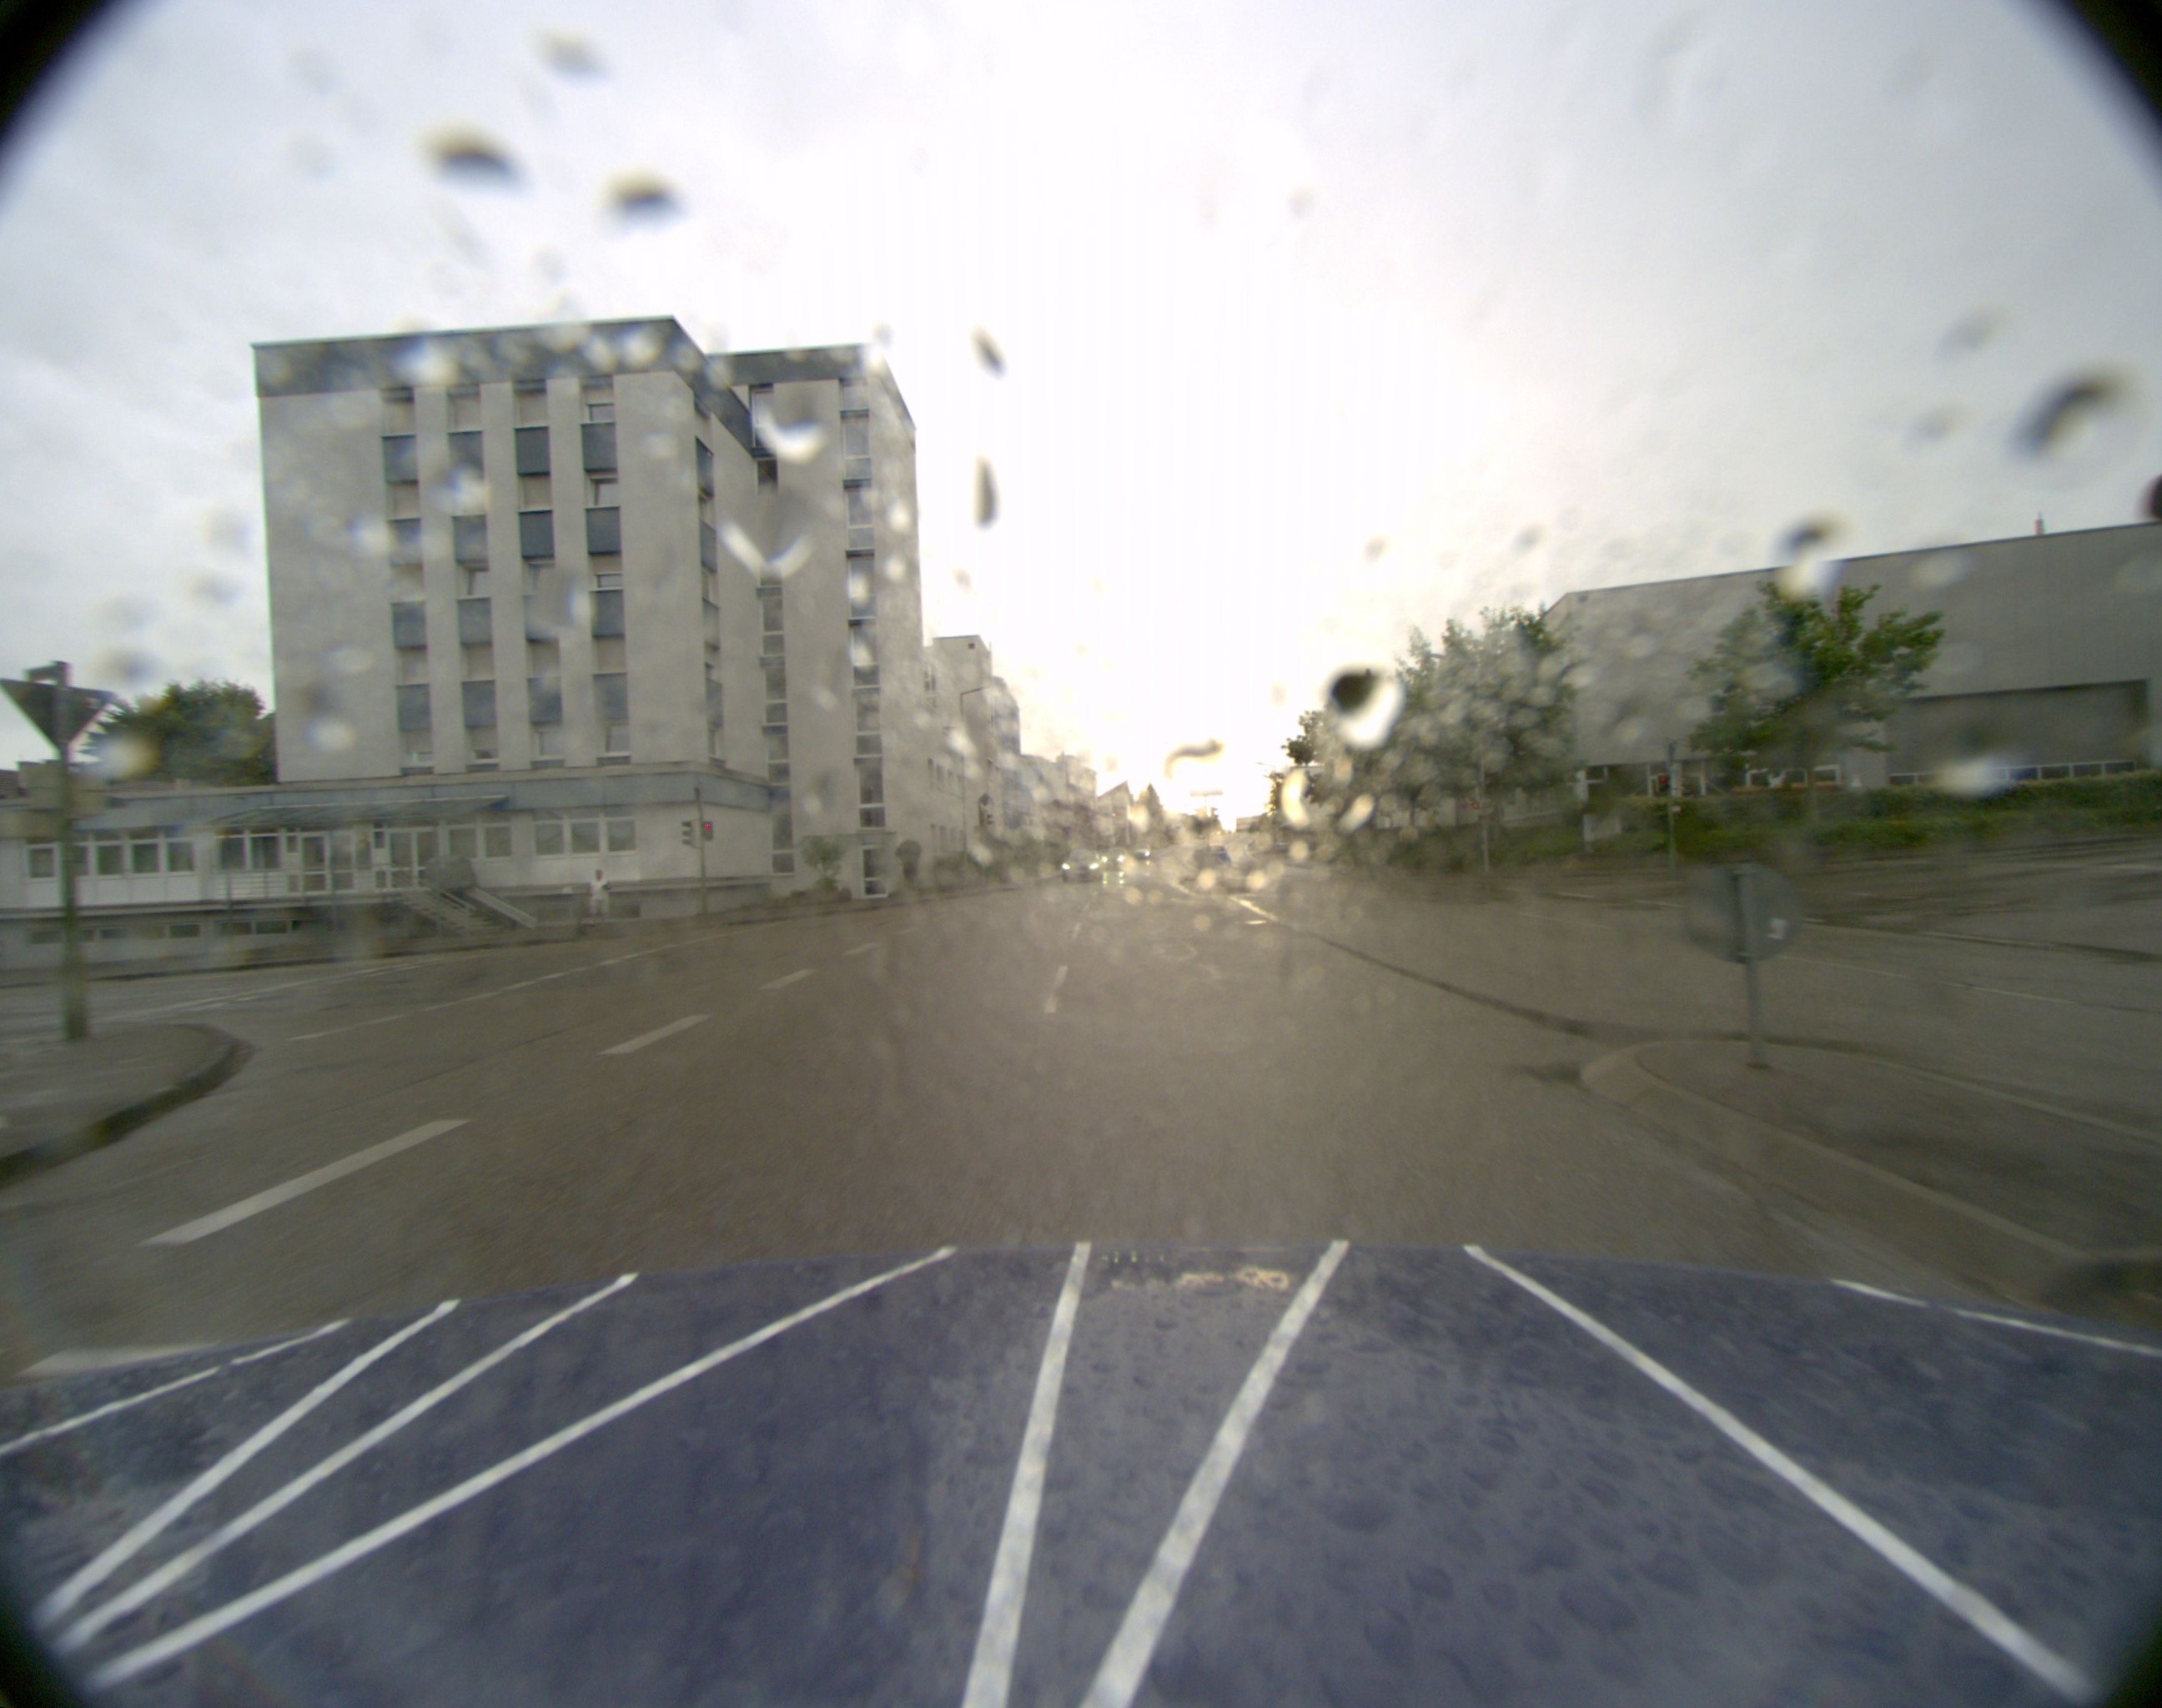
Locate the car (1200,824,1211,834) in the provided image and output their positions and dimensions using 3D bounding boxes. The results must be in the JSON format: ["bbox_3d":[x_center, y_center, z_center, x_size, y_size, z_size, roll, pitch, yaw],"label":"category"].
[{"bbox_3d":[27.526,-5.534,167.982,1.997,2.002,4.002,-6,1,11],"label":"car"}]

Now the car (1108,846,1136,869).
[{"bbox_3d":[2.968,0.252,54.443,1.753,1.470,4.001,-3,1,5],"label":"car"}]

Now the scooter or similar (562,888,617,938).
[{"bbox_3d":[-13.740,1.638,21.287,0.801,1.220,1.061,-7,1,-8],"label":"scooter or similar"}]

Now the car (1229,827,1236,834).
[{"bbox_3d":[42.193,-6.539,212.207,1.827,1.677,4.003,-2,0,11],"label":"car"}]

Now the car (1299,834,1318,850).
[{"bbox_3d":[23.626,-1.250,78.955,1.735,1.470,4.025,-3,0,16],"label":"car"}]

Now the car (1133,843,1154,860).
[{"bbox_3d":[6.383,-0.269,77.544,1.897,1.535,4.023,-3,0,8],"label":"car"}]

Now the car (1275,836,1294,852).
[{"bbox_3d":[21.305,-1.075,79.504,1.735,1.470,4.025,-3,0,16],"label":"car"}]

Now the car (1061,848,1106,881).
[{"bbox_3d":[0.190,0.481,38.371,1.740,1.477,4.151,-2,0,7],"label":"car"}]

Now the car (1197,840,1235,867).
[{"bbox_3d":[8.709,-0.083,49.261,1.693,1.546,3.906,-4,1,1],"label":"car"}]

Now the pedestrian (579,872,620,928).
[{"bbox_3d":[-14.961,1.421,23.616,0.645,1.642,0.656,-6,1,1],"label":"pedestrian"}]
